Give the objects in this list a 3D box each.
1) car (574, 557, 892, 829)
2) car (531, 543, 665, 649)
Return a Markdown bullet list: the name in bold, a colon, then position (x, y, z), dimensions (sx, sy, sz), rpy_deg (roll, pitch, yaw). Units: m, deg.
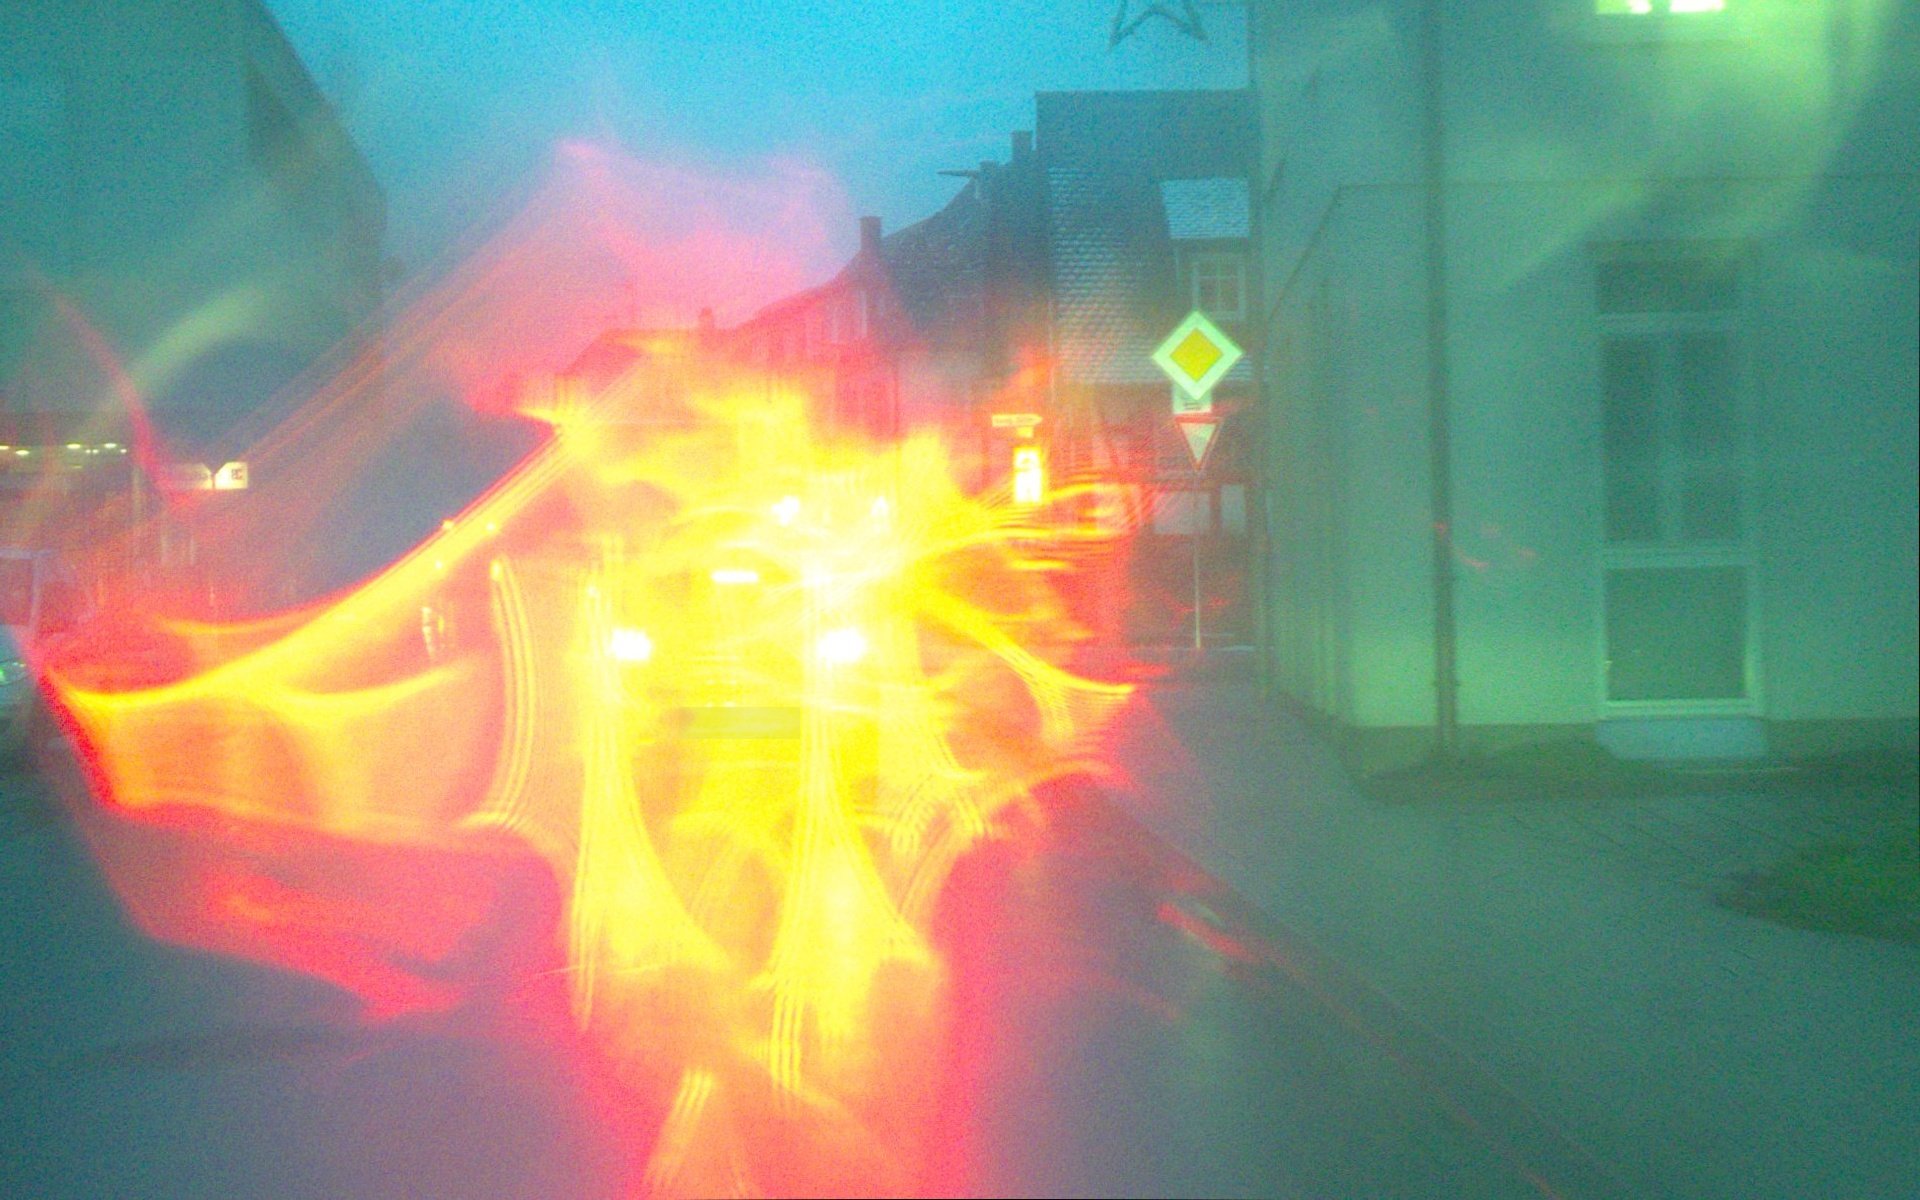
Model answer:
- **car**: position (-1.463, 0.507, 21.669), dimensions (1.814, 1.528, 4.001), rpy_deg (0, 1, -5)
- **car**: position (-5.644, -0.090, 53.968), dimensions (1.993, 1.583, 4.001), rpy_deg (0, 1, -4)
